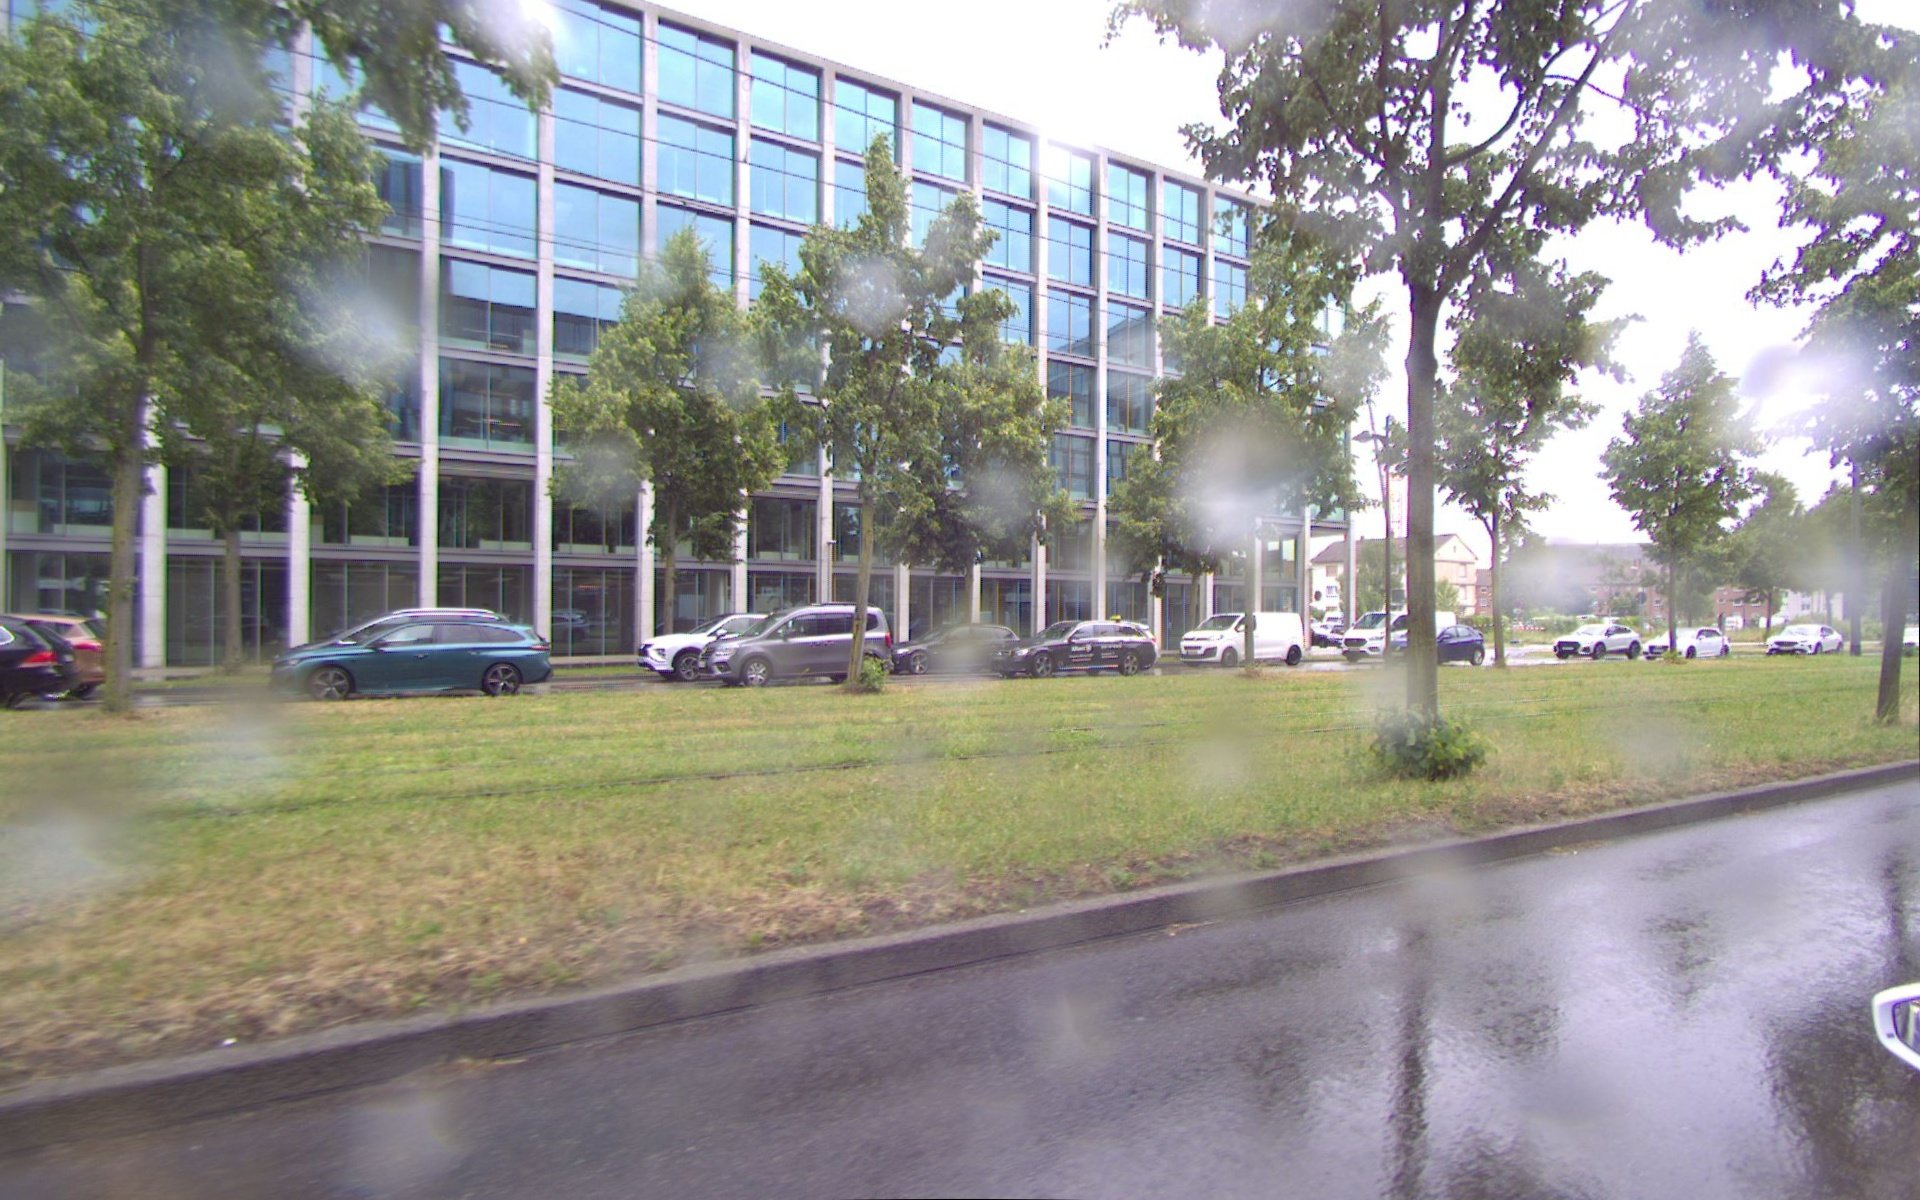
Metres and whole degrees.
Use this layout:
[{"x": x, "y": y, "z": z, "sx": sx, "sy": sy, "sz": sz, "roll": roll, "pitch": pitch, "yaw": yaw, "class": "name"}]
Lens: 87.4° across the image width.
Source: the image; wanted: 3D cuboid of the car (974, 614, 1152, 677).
[{"x": 2.805, "y": 1.171, "z": 27.093, "sx": 4.552, "sy": 1.404, "sz": 1.940, "roll": -2, "pitch": 1, "yaw": -32, "class": "car"}]

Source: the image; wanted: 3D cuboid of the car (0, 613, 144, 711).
[{"x": -17.630, "y": 1.084, "z": 18.155, "sx": 4.225, "sy": 1.716, "sz": 1.940, "roll": 1, "pitch": -1, "yaw": -33, "class": "car"}]

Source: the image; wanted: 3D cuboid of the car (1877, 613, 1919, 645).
[{"x": 51.295, "y": 1.524, "z": 53.648, "sx": 4.768, "sy": 1.480, "sz": 1.943, "roll": -2, "pitch": 1, "yaw": -27, "class": "car"}]

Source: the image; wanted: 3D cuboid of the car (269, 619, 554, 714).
[{"x": -10.096, "y": 1.142, "z": 18.686, "sx": 4.423, "sy": 1.404, "sz": 1.940, "roll": -2, "pitch": 0, "yaw": -33, "class": "car"}]

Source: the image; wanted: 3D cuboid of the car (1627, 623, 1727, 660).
[{"x": 31.079, "y": 1.758, "z": 43.520, "sx": 4.524, "sy": 1.533, "sz": 1.941, "roll": 1, "pitch": 0, "yaw": -31, "class": "car"}]

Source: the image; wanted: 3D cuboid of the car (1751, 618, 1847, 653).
[{"x": 37.516, "y": 1.546, "z": 44.897, "sx": 4.524, "sy": 1.471, "sz": 1.941, "roll": 1, "pitch": 0, "yaw": -31, "class": "car"}]

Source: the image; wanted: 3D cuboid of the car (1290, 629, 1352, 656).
[{"x": 24.117, "y": 2.823, "z": 67.241, "sx": 1.721, "sy": 1.630, "sz": 3.776, "roll": -2, "pitch": 0, "yaw": -26, "class": "car"}]

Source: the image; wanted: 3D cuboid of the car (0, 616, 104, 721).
[{"x": -16.225, "y": 1.079, "z": 15.391, "sx": 4.413, "sy": 1.580, "sz": 1.941, "roll": -1, "pitch": 0, "yaw": -32, "class": "car"}]

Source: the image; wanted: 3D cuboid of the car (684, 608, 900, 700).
[{"x": -3.810, "y": 1.139, "z": 23.014, "sx": 4.491, "sy": 1.873, "sz": 1.941, "roll": -1, "pitch": 0, "yaw": -32, "class": "car"}]

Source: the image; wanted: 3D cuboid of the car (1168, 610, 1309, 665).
[{"x": 9.795, "y": 1.254, "z": 35.202, "sx": 4.975, "sy": 1.674, "sz": 1.939, "roll": -2, "pitch": 1, "yaw": -33, "class": "car"}]

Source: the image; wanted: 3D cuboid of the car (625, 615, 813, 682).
[{"x": -6.090, "y": 1.171, "z": 25.473, "sx": 4.226, "sy": 1.404, "sz": 1.939, "roll": -2, "pitch": 1, "yaw": -33, "class": "car"}]

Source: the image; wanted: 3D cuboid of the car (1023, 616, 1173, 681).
[{"x": 4.426, "y": 1.471, "z": 31.929, "sx": 4.583, "sy": 1.769, "sz": 1.939, "roll": -2, "pitch": 1, "yaw": -33, "class": "car"}]

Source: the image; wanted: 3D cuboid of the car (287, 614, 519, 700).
[{"x": -12.052, "y": 1.148, "z": 21.861, "sx": 4.226, "sy": 1.560, "sz": 1.939, "roll": -2, "pitch": 1, "yaw": -33, "class": "car"}]

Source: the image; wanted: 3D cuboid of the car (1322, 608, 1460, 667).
[{"x": 16.966, "y": 1.409, "z": 39.473, "sx": 5.308, "sy": 2.033, "sz": 2.258, "roll": -2, "pitch": 1, "yaw": -30, "class": "car"}]

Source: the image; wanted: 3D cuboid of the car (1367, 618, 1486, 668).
[{"x": 16.468, "y": 1.461, "z": 35.429, "sx": 3.916, "sy": 1.514, "sz": 1.941, "roll": -2, "pitch": 1, "yaw": -31, "class": "car"}]

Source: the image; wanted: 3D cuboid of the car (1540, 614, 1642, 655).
[{"x": 28.804, "y": 1.560, "z": 45.835, "sx": 4.518, "sy": 1.772, "sz": 1.943, "roll": 1, "pitch": 0, "yaw": -28, "class": "car"}]

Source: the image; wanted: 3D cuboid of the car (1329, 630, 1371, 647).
[{"x": 29.354, "y": 2.885, "z": 75.634, "sx": 2.978, "sy": 1.087, "sz": 1.285, "roll": -2, "pitch": 1, "yaw": -28, "class": "car"}]

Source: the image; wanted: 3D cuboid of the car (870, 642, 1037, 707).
[{"x": -0.137, "y": 2.094, "z": 29.116, "sx": 4.575, "sy": 1.466, "sz": 1.848, "roll": -2, "pitch": 1, "yaw": -33, "class": "car"}]
